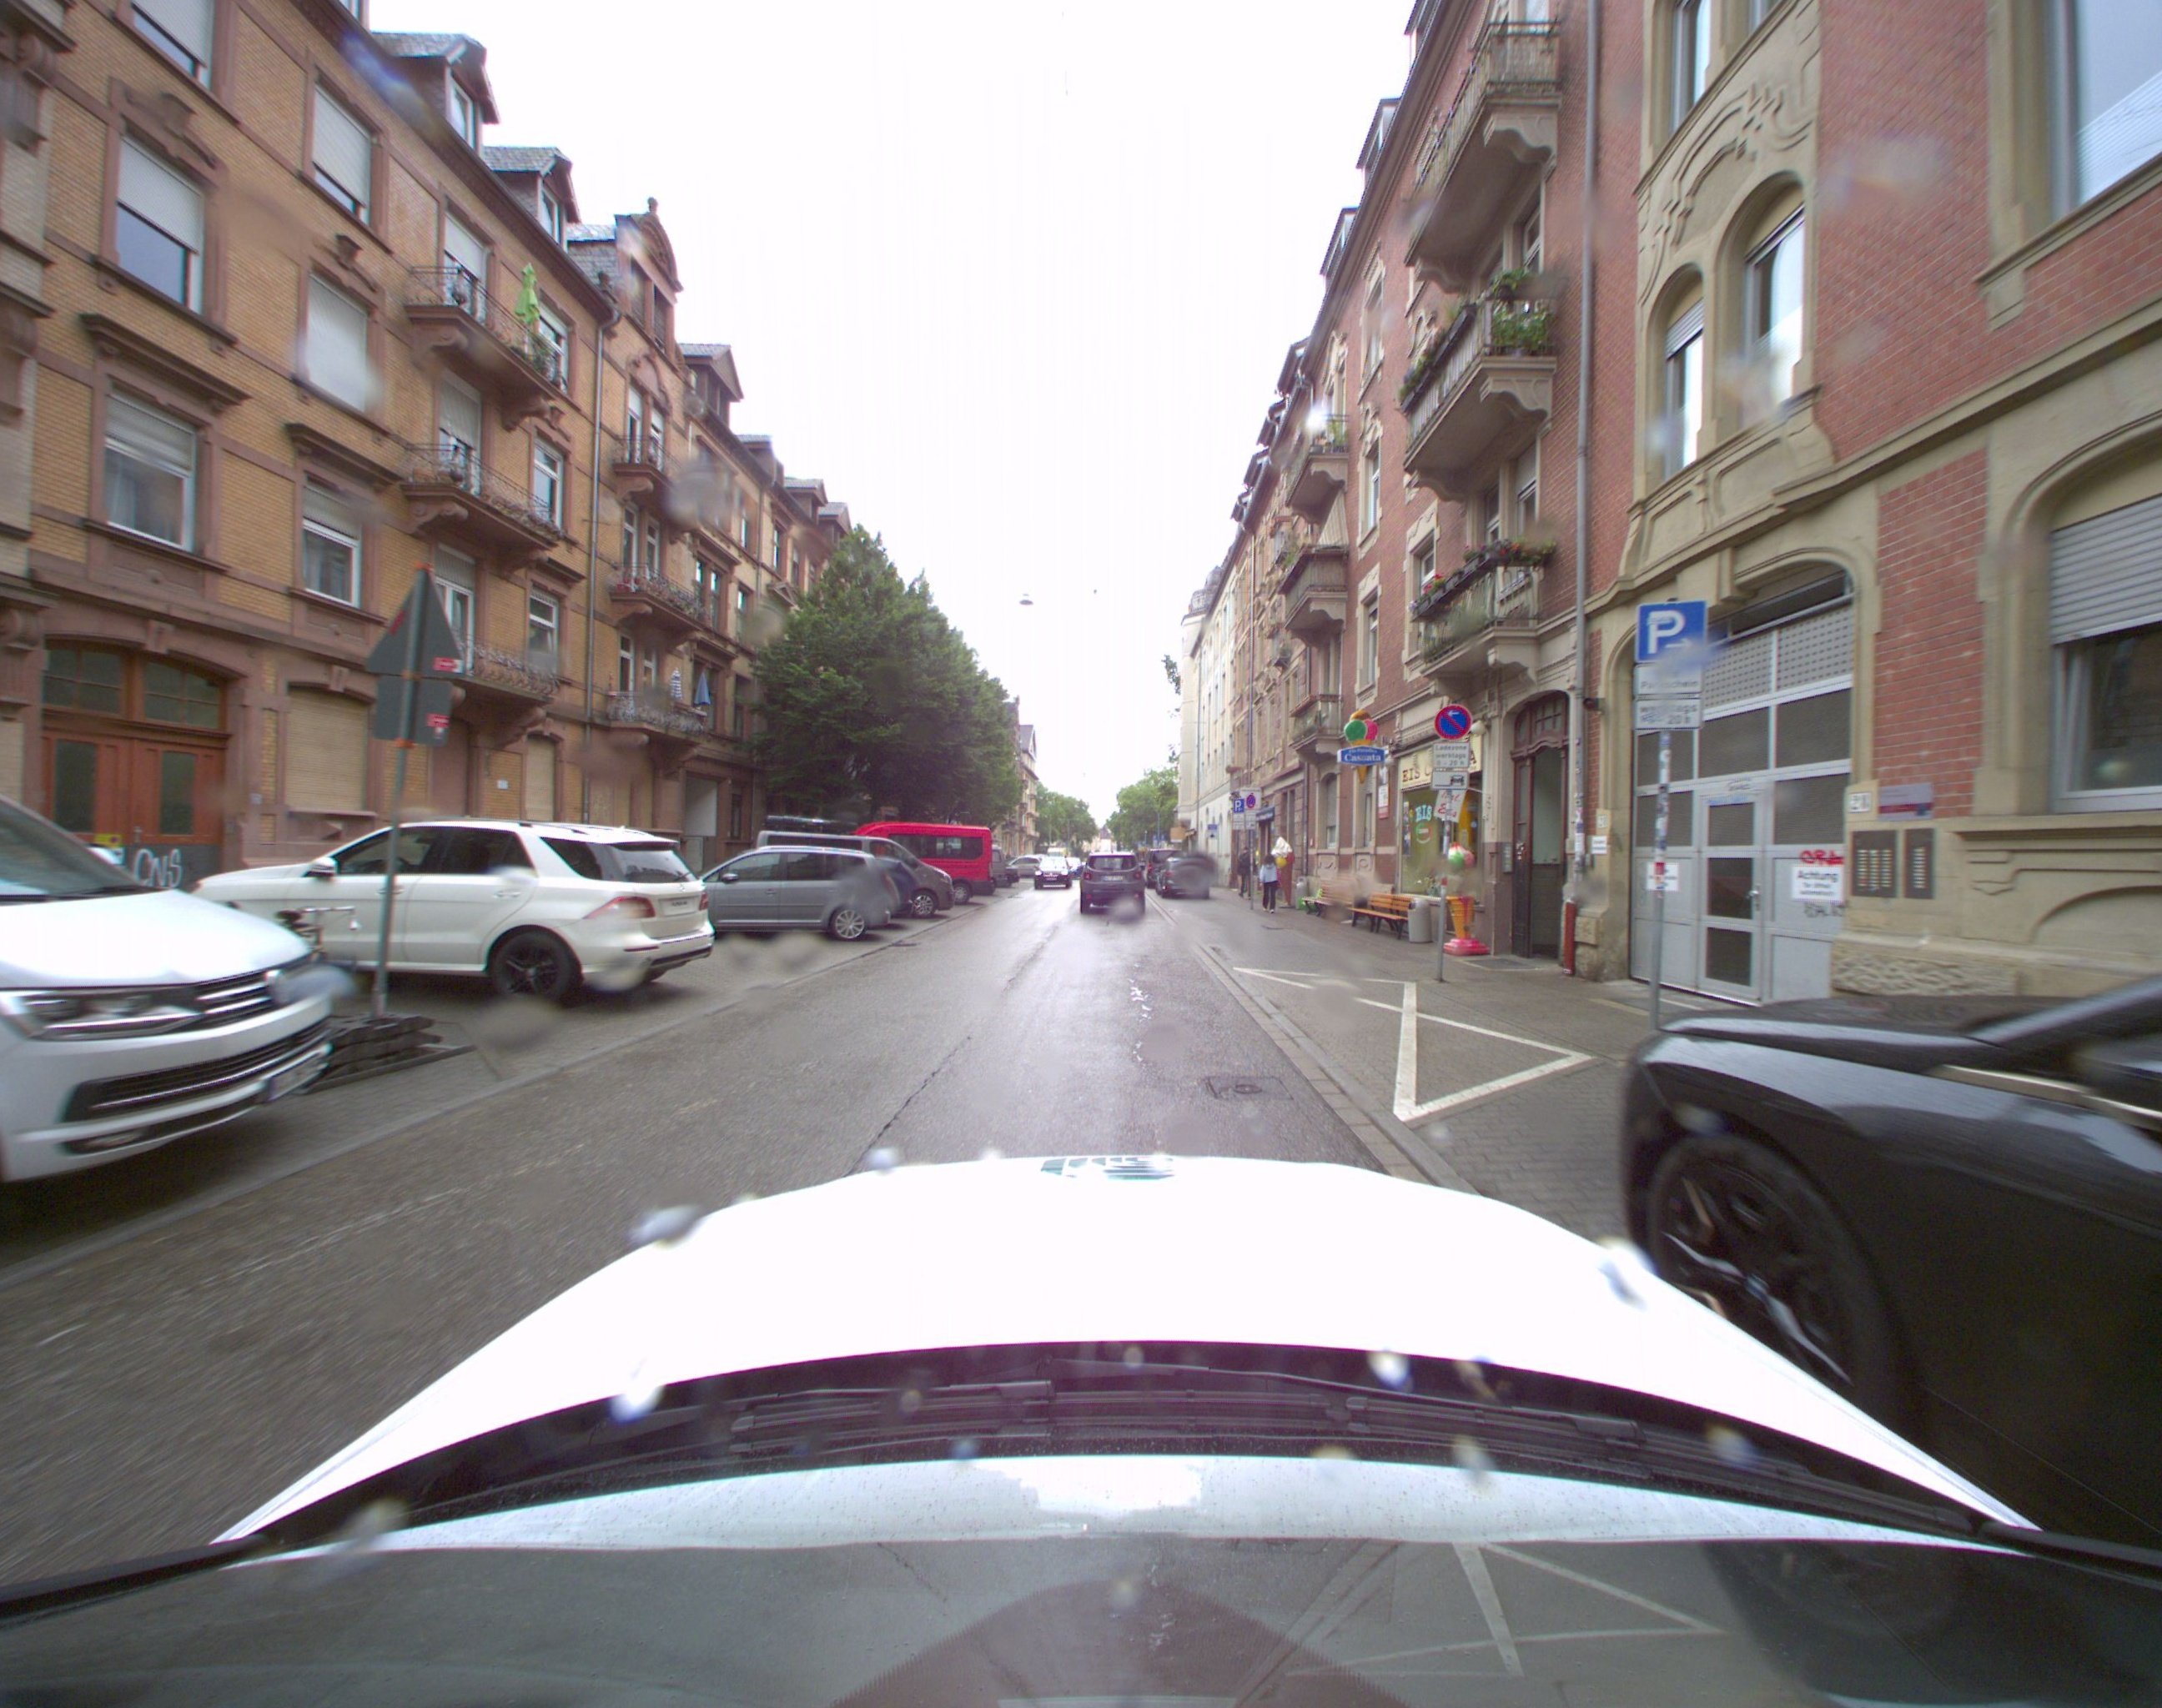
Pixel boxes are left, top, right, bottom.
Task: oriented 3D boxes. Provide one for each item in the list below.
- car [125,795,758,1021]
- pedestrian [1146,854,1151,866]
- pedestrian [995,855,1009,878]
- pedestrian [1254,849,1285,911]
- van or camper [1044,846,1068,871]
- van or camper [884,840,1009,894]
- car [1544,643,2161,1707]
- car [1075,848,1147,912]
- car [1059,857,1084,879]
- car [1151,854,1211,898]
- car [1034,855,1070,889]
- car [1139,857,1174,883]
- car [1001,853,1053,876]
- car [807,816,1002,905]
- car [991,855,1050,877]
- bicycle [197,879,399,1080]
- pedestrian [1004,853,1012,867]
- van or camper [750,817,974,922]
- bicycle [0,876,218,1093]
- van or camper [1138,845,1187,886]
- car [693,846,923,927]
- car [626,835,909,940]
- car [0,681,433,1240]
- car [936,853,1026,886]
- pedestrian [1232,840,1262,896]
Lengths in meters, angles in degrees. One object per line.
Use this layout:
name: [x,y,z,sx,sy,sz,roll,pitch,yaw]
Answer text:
car: [-6.273,0.485,8.611,4.562,1.785,2.546,3,0,1]
pedestrian: [9.534,0.903,115.030,0.688,1.711,0.684,0,0,2]
pedestrian: [-6.025,0.944,62.412,0.820,1.752,0.759,3,0,8]
pedestrian: [5.068,0.688,21.948,0.676,1.613,0.810,0,0,2]
van or camper: [-2.793,0.549,92.935,2.113,2.531,6.876,-3,-2,2]
van or camper: [-5.222,0.526,31.763,4.463,1.975,1.764,2,0,-32]
car: [2.608,0.570,0.497,1.986,1.779,4.827,0,0,1]
car: [0.829,0.696,23.540,1.892,1.671,4.506,0,0,1]
car: [-0.628,0.974,56.883,1.664,1.465,4.004,0,0,1]
car: [3.691,0.774,30.594,1.834,1.545,4.004,0,0,1]
car: [-1.402,0.864,40.427,1.664,1.559,4.002,1,0,0]
car: [4.184,0.871,45.370,1.704,1.400,3.706,-1,0,1]
car: [-3.913,0.743,59.151,3.397,1.654,1.618,0,0,-31]
car: [-5.519,0.224,25.535,5.583,2.541,2.210,1,0,-26]
car: [-4.156,0.786,56.274,3.728,1.452,1.668,0,0,-34]
bicycle: [-5.757,0.820,6.122,0.545,1.175,2.026,2,0,-28]
pedestrian: [-7.879,0.658,88.174,0.705,1.551,0.609,3,0,8]
van or camper: [-5.446,0.375,20.252,5.032,2.349,2.326,1,0,-25]
bicycle: [-6.708,0.774,5.557,0.484,1.175,2.026,2,0,-28]
van or camper: [3.945,0.539,40.036,2.014,1.891,5.056,-1,0,2]
car: [-5.701,0.695,17.281,4.358,1.504,1.743,3,0,-21]
car: [-5.586,0.620,14.826,4.451,1.630,1.830,4,0,-25]
car: [-6.114,0.352,3.147,5.258,2.078,1.856,2,-1,-23]
car: [-4.816,0.781,39.475,3.998,1.447,1.748,3,0,-38]
pedestrian: [5.886,0.494,28.868,0.672,1.934,0.815,-1,3,37]
